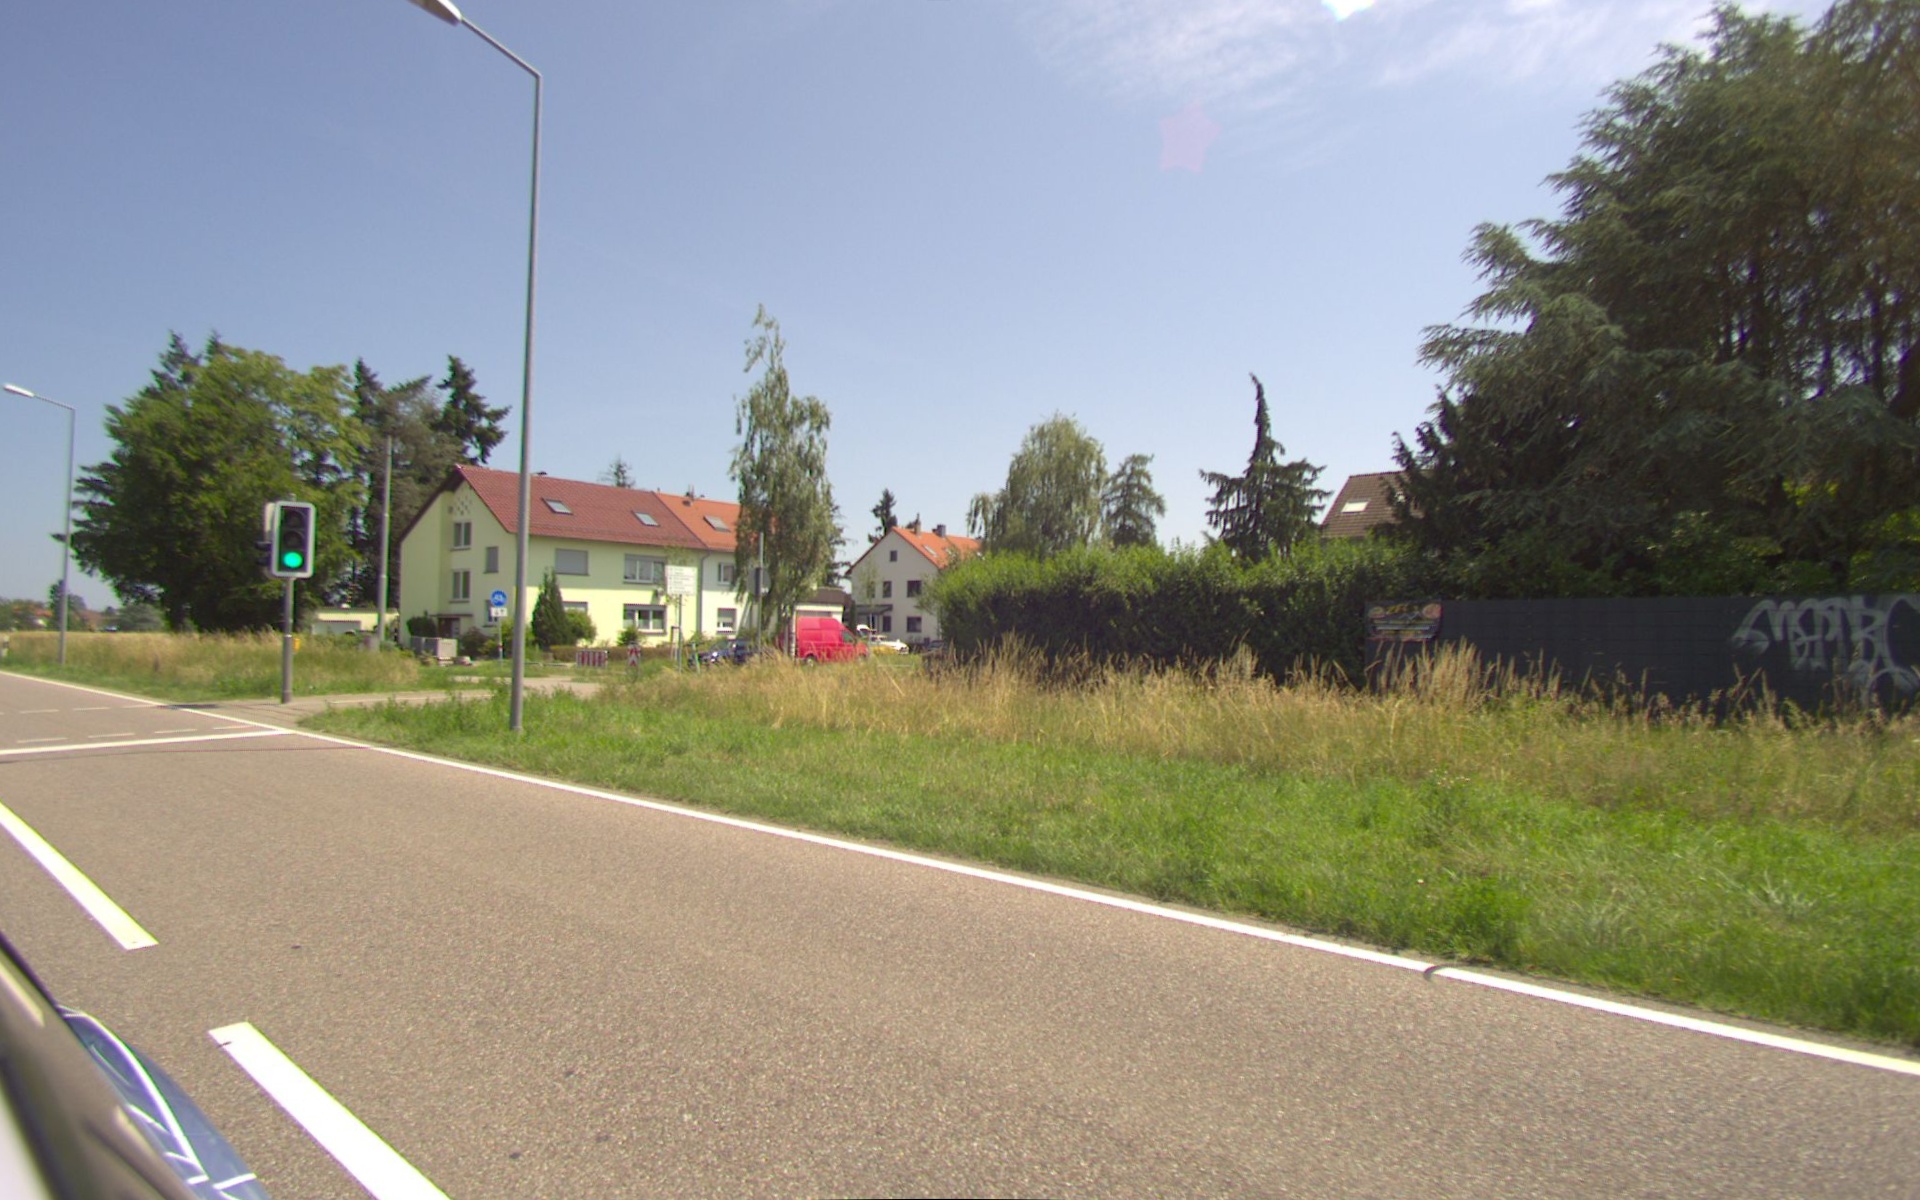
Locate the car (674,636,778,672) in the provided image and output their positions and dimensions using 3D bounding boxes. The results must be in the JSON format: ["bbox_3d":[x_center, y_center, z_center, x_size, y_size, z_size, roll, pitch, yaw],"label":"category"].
[{"bbox_3d":[-9.768,2.226,42.445,1.996,1.364,3.951,-1,-1,36],"label":"car"}]

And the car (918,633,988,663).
[{"bbox_3d":[-0.346,2.598,55.530,1.866,1.530,3.951,-1,-1,36],"label":"car"}]

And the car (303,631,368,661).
[{"bbox_3d":[-32.942,2.388,53.361,4.182,1.503,1.689,-1,-1,40],"label":"car"}]

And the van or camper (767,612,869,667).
[{"bbox_3d":[-6.539,1.788,46.996,1.996,2.406,4.711,-1,-1,36],"label":"van or camper"}]

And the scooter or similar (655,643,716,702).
[{"bbox_3d":[-5.482,1.425,20.215,0.646,1.136,1.010,-1,-3,31],"label":"scooter or similar"}]
